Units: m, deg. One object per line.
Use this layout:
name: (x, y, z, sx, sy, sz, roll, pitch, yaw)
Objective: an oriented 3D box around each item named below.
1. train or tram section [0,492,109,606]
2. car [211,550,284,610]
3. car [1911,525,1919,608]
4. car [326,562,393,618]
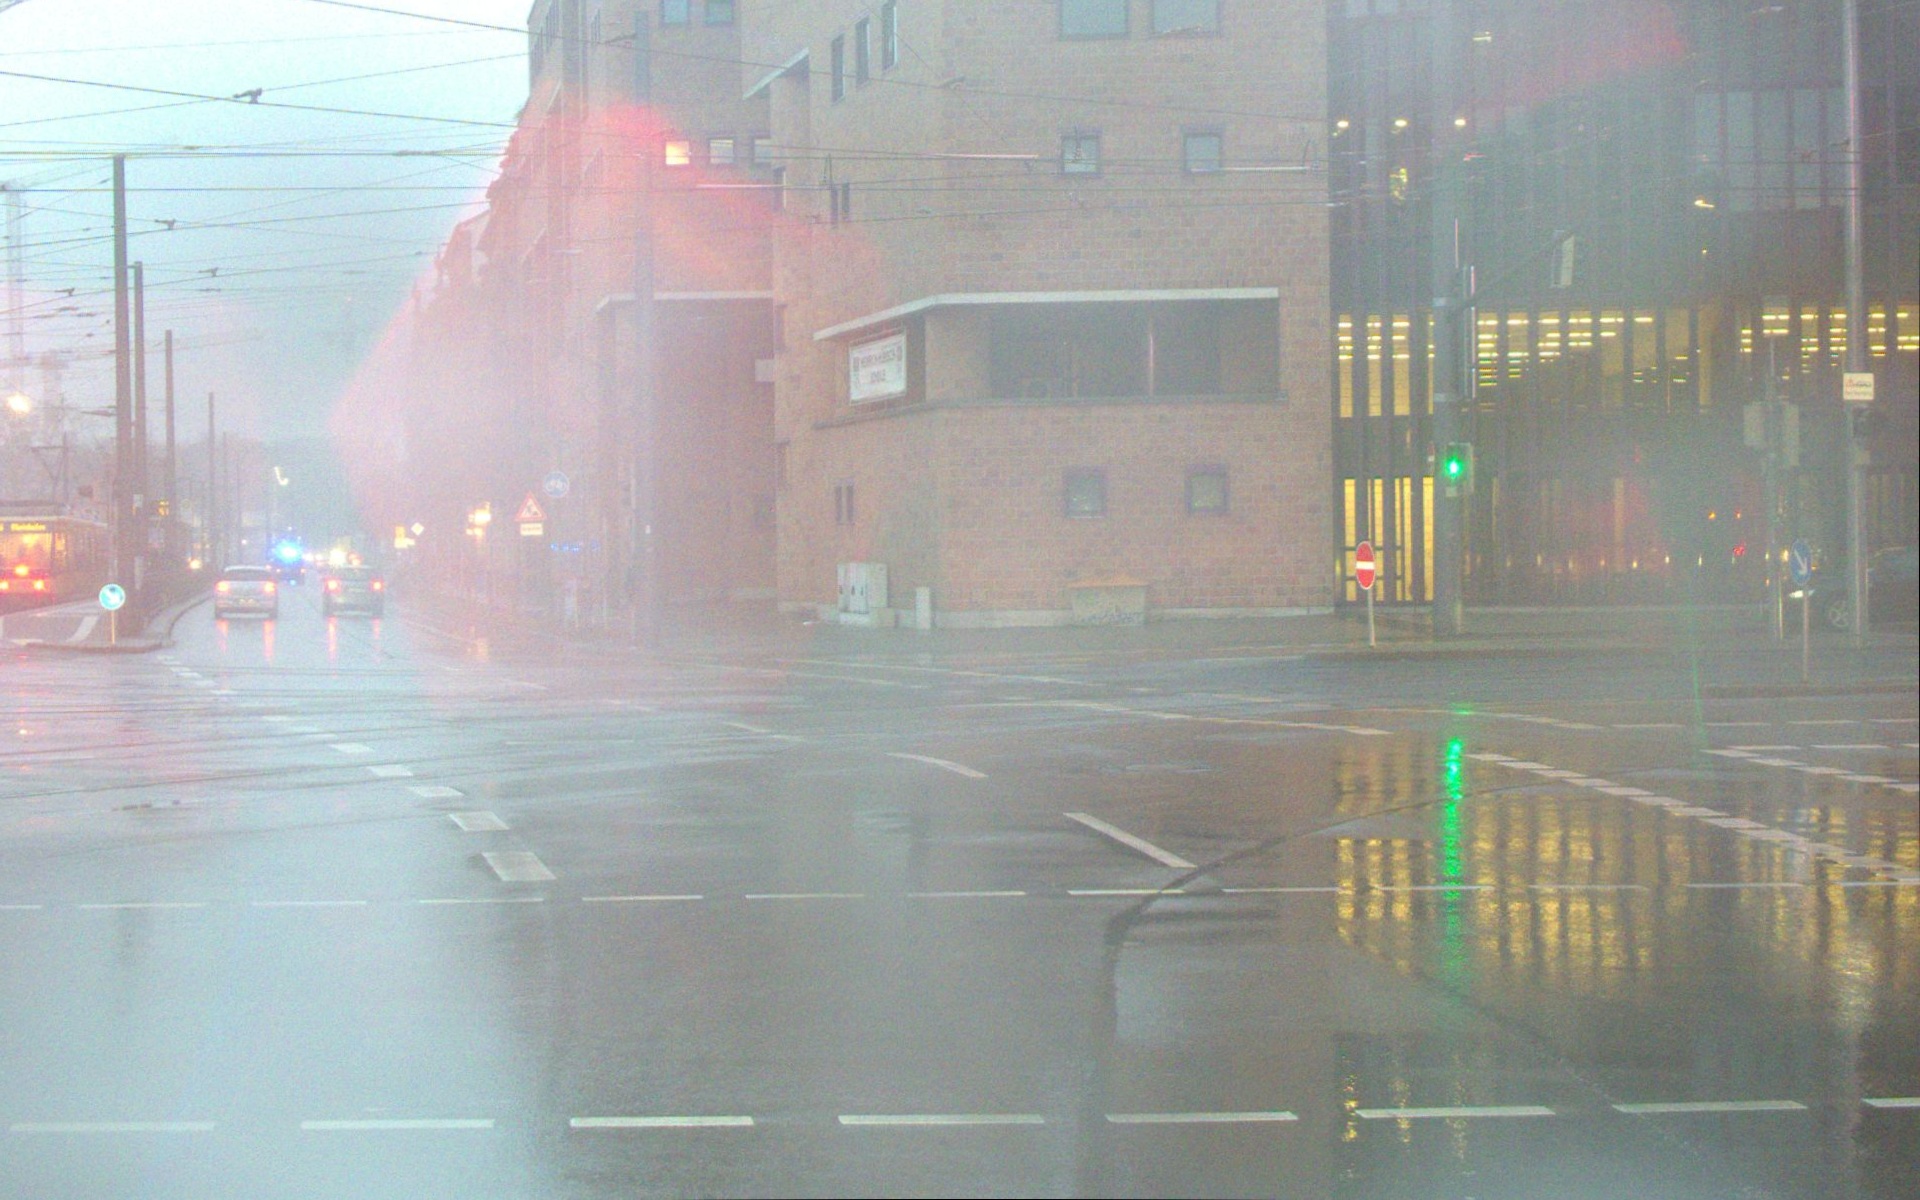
train or tram section: (-31.743, -1.718, 117.767, 3.190, 3.424, 27.839, -1, 1, -10)
car: (-20.005, -0.567, 96.615, 1.870, 1.573, 4.001, 1, 1, -10)
car: (16.745, -0.482, 52.715, 3.719, 1.258, 1.848, -1, 5, -6)
car: (-18.332, -0.321, 105.083, 1.870, 1.573, 4.001, 2, 1, -9)
